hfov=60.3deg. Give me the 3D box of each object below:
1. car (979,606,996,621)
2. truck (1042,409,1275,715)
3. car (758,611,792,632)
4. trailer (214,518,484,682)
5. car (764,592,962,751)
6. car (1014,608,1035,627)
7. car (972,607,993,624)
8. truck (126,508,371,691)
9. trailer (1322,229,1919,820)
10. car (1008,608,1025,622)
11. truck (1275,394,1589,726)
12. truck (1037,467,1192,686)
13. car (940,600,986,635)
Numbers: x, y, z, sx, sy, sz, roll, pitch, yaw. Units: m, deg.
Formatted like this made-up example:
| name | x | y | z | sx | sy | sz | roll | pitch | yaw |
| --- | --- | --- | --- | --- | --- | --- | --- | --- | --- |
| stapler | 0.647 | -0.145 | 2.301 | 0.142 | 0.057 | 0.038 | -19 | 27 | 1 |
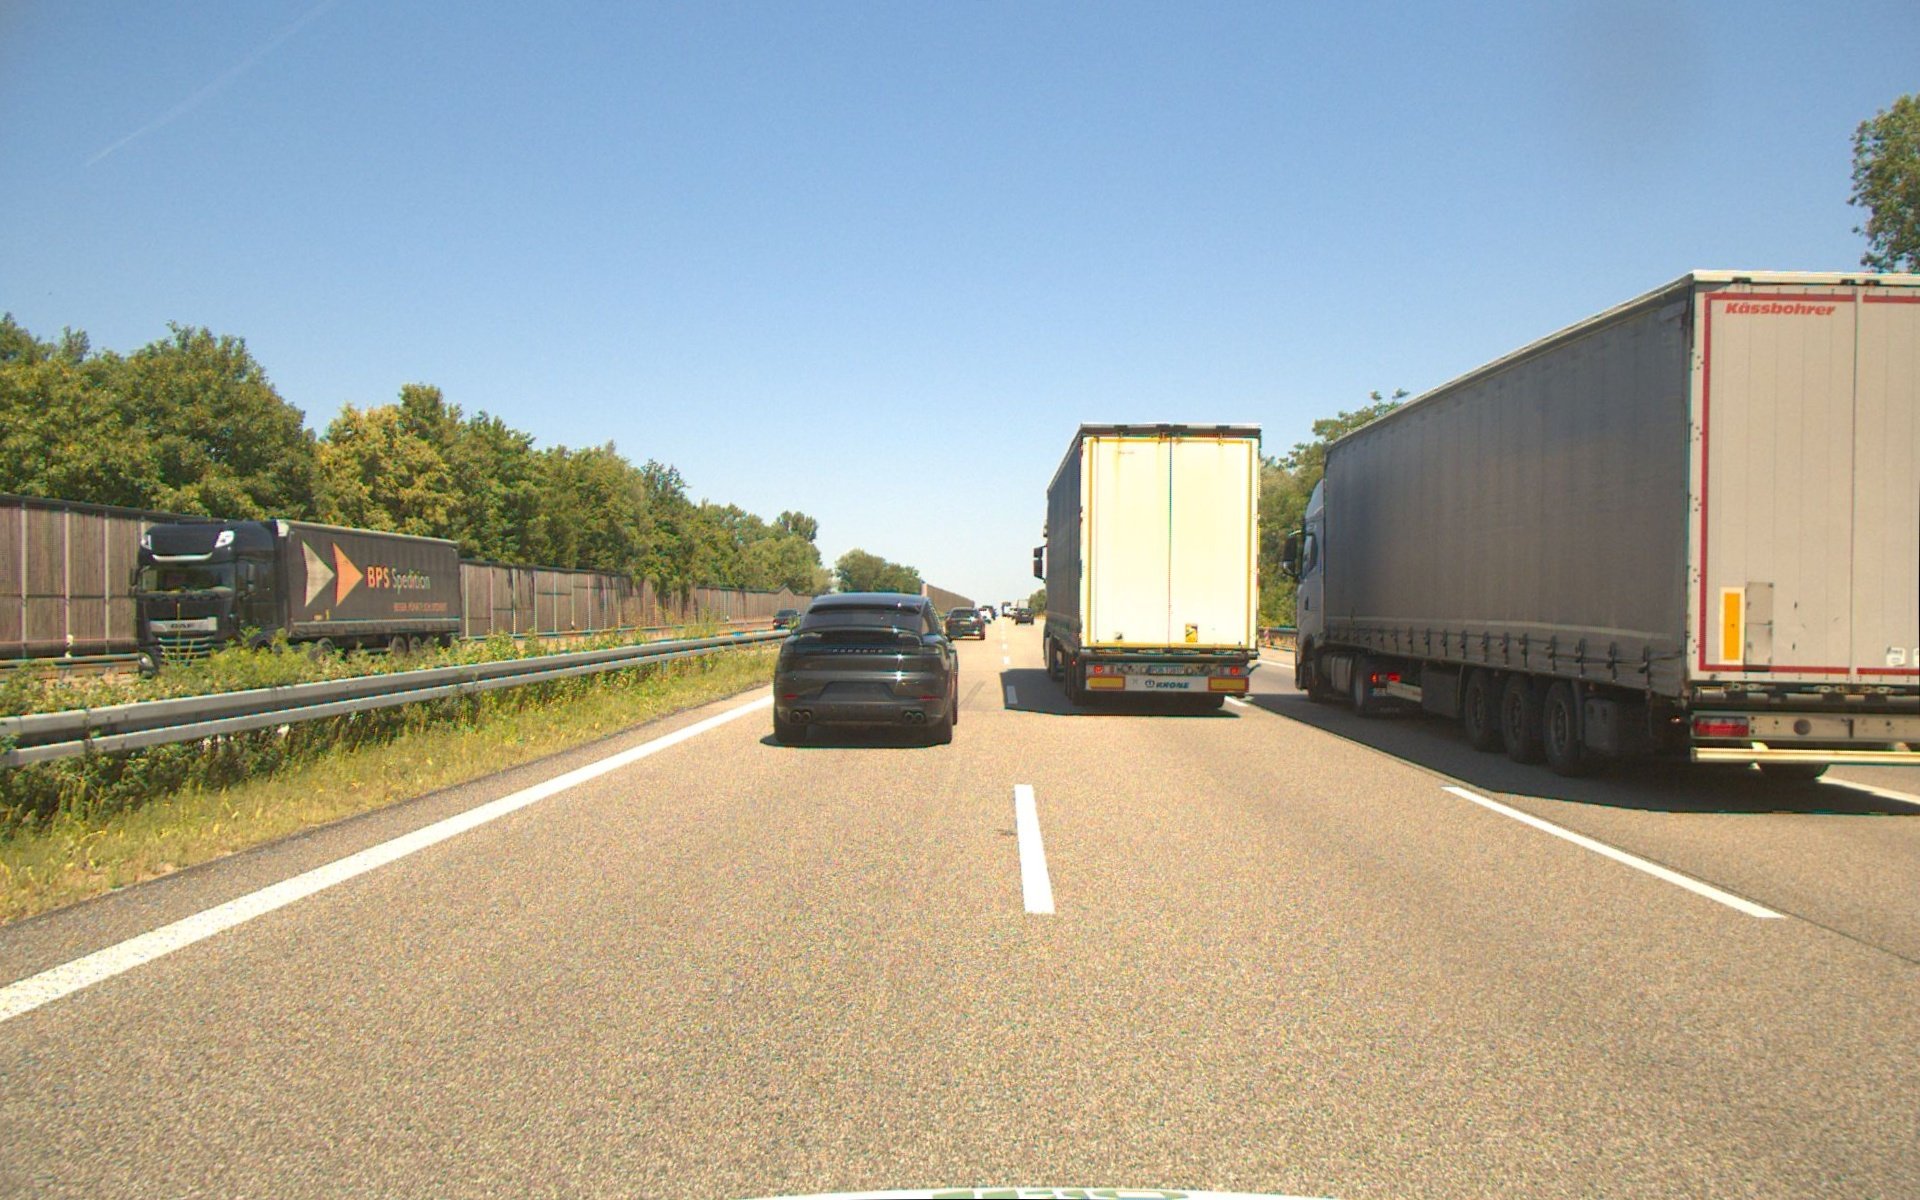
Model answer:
| name | x | y | z | sx | sy | sz | roll | pitch | yaw |
| --- | --- | --- | --- | --- | --- | --- | --- | --- | --- |
| car | 3.231 | 1.609 | 195.808 | 1.817 | 1.645 | 4.000 | -2 | 0 | 0 |
| truck | 3.060 | -0.500 | 29.447 | 2.651 | 4.157 | 13.474 | -1 | 0 | 1 |
| car | -13.596 | 1.545 | 121.822 | 1.919 | 1.458 | 4.880 | -1 | 0 | 0 |
| trailer | -17.653 | 0.018 | 49.336 | 2.671 | 4.157 | 13.891 | -1 | 0 | 1 |
| car | -1.002 | 0.740 | 20.098 | 2.001 | 1.653 | 5.772 | 0 | 0 | 1 |
| car | 5.746 | 1.567 | 148.361 | 1.817 | 1.645 | 4.001 | -1 | 0 | 2 |
| car | 2.122 | 1.464 | 155.833 | 1.816 | 1.512 | 4.001 | -2 | 0 | 2 |
| truck | -17.775 | 0.001 | 41.994 | 2.671 | 4.157 | 7.838 | -1 | 0 | 1 |
| trailer | 6.799 | -0.536 | 18.680 | 2.648 | 4.289 | 13.212 | -1 | 0 | 1 |
| car | 6.922 | 1.834 | 202.642 | 1.817 | 1.645 | 4.000 | -2 | 0 | 0 |
| truck | 6.904 | -0.504 | 25.511 | 2.636 | 4.289 | 7.838 | -1 | 0 | 1 |
| truck | 3.133 | -0.442 | 35.357 | 2.671 | 4.157 | 7.277 | -1 | 0 | 1 |
| car | 0.184 | 0.794 | 77.813 | 1.903 | 1.533 | 5.822 | -2 | 0 | 2 |
